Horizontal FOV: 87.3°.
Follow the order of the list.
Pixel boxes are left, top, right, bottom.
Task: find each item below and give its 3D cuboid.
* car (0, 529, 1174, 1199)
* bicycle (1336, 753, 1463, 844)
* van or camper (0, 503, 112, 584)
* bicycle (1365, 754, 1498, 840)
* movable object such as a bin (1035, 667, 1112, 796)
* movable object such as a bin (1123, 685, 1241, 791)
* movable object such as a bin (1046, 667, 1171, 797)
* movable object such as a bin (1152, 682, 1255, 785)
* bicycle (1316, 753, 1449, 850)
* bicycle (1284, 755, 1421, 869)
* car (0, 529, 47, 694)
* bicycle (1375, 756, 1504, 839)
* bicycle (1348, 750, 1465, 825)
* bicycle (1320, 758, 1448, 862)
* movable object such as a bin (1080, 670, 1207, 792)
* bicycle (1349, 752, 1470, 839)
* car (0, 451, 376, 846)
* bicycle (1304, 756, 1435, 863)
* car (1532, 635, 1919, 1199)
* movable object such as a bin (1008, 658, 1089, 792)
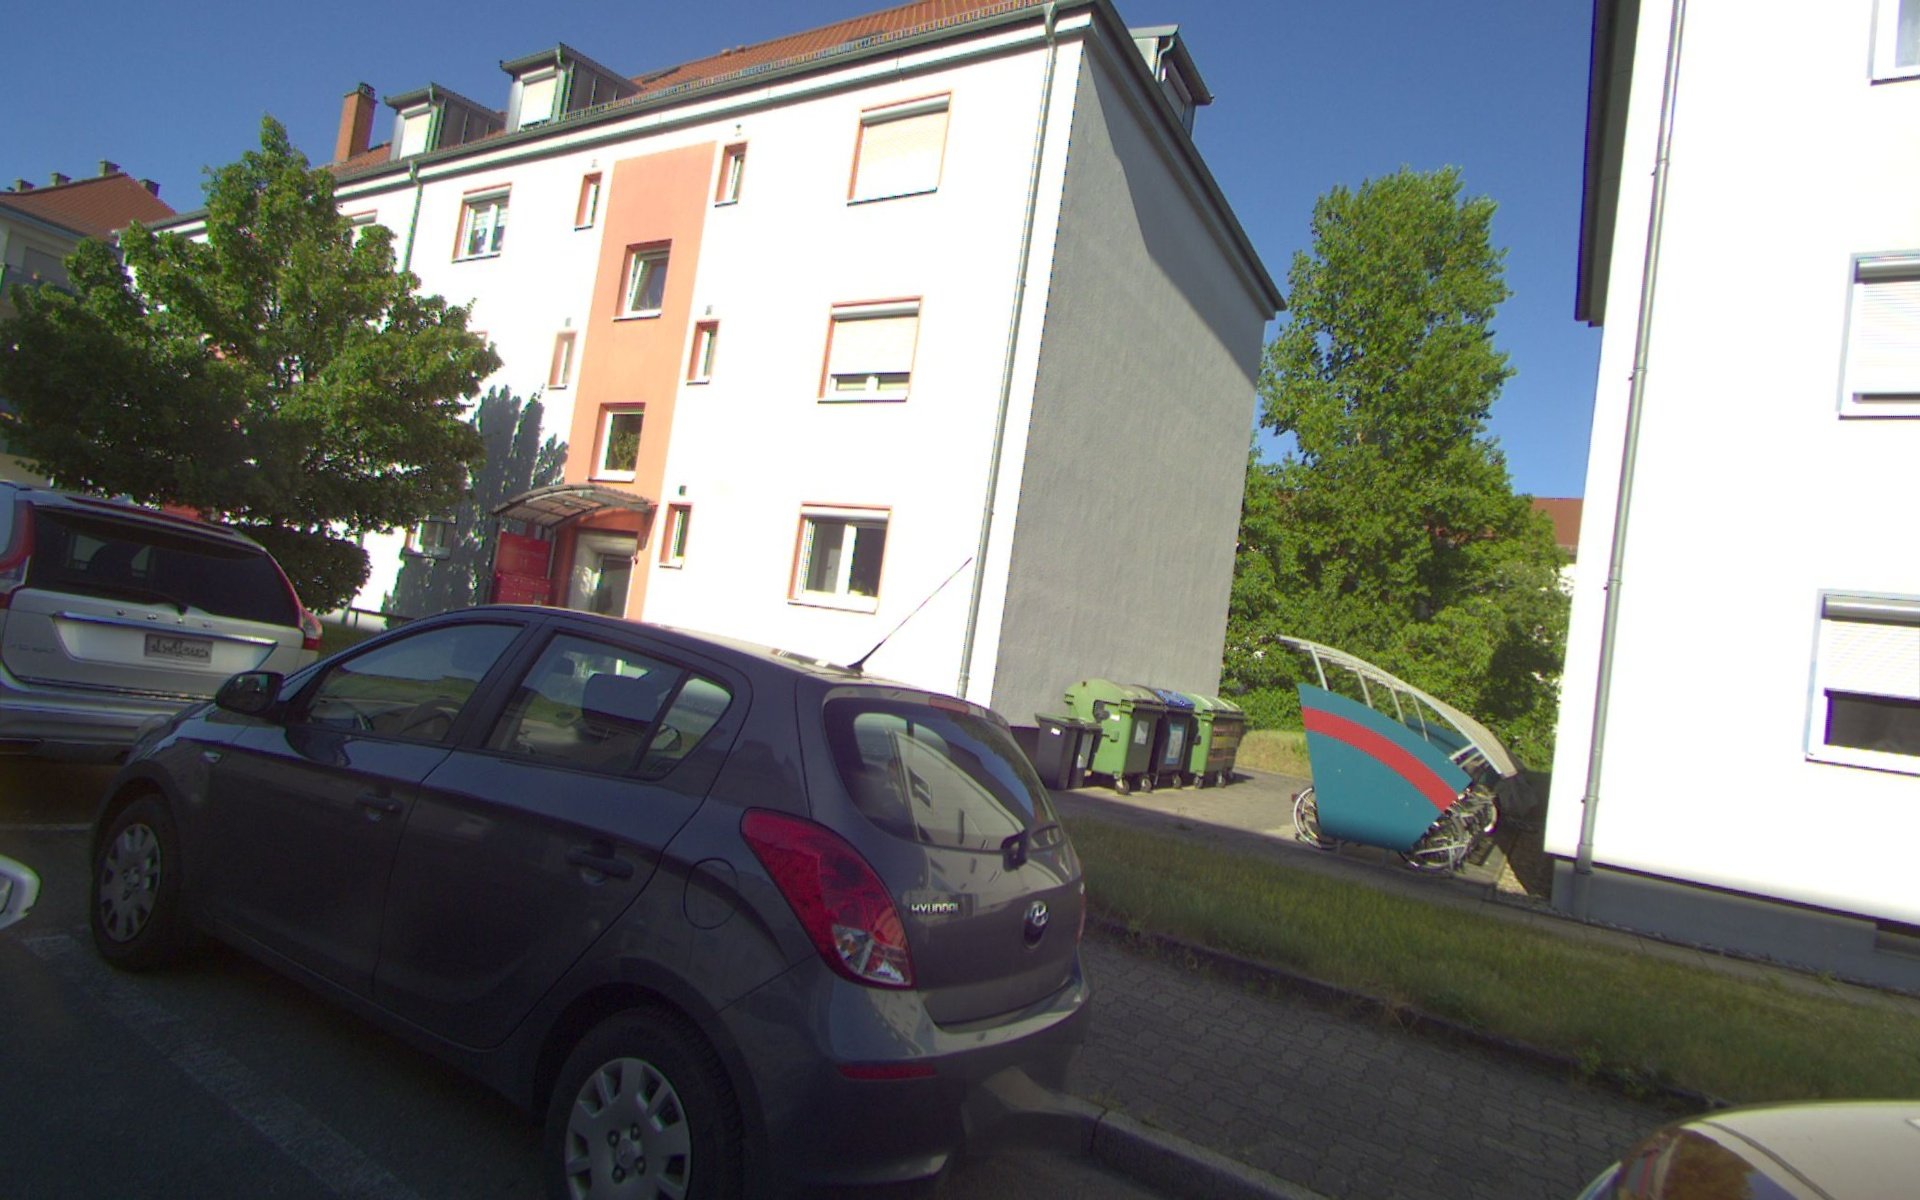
[{"bbox_3d":[-1.409,0.753,3.522,3.791,1.465,1.622,7,-3,28],"label":"car"},{"bbox_3d":[6.059,2.716,13.897,1.484,0.957,0.319,6,-1,34],"label":"bicycle"},{"bbox_3d":[-29.980,-1.984,31.162,1.967,2.035,5.138,8,-3,32],"label":"van or camper"},{"bbox_3d":[7.189,2.976,15.370,1.711,0.957,0.421,6,-1,33],"label":"bicycle"},{"bbox_3d":[1.499,1.718,13.220,0.614,1.569,0.595,7,-2,32],"label":"movable object such as a bin"},{"bbox_3d":[3.647,2.251,16.493,1.378,1.451,1.298,7,-3,32],"label":"movable object such as a bin"},{"bbox_3d":[2.084,1.825,14.001,1.126,1.569,1.298,7,-3,32],"label":"movable object such as a bin"},{"bbox_3d":[4.320,2.355,17.796,1.317,1.569,1.125,7,-3,32],"label":"movable object such as a bin"},{"bbox_3d":[5.501,2.613,13.150,1.484,0.957,0.319,6,-1,34],"label":"bicycle"},{"bbox_3d":[4.252,2.279,10.941,1.262,0.957,0.319,6,-1,34],"label":"bicycle"},{"bbox_3d":[-10.056,-0.151,9.114,3.431,1.408,1.634,7,-4,32],"label":"car"},{"bbox_3d":[7.549,3.092,15.883,1.711,0.957,0.421,6,-1,33],"label":"bicycle"},{"bbox_3d":[7.709,3.217,17.408,1.715,0.957,0.420,6,-2,40],"label":"bicycle"},{"bbox_3d":[4.988,2.450,11.875,1.262,0.957,0.319,6,-1,34],"label":"bicycle"},{"bbox_3d":[2.781,1.964,15.176,1.317,1.569,1.298,7,-3,32],"label":"movable object such as a bin"},{"bbox_3d":[6.486,2.799,14.557,1.484,0.957,0.319,6,-1,34],"label":"bicycle"},{"bbox_3d":[-5.787,0.128,6.084,4.234,1.735,1.783,7,-6,30],"label":"car"},{"bbox_3d":[4.666,2.367,11.494,1.262,0.957,0.319,6,-1,34],"label":"bicycle"},{"bbox_3d":[2.873,1.157,0.615,4.350,1.624,1.732,7,-3,32],"label":"car"},{"bbox_3d":[1.125,1.575,12.706,0.614,1.569,0.595,7,-2,32],"label":"movable object such as a bin"}]
